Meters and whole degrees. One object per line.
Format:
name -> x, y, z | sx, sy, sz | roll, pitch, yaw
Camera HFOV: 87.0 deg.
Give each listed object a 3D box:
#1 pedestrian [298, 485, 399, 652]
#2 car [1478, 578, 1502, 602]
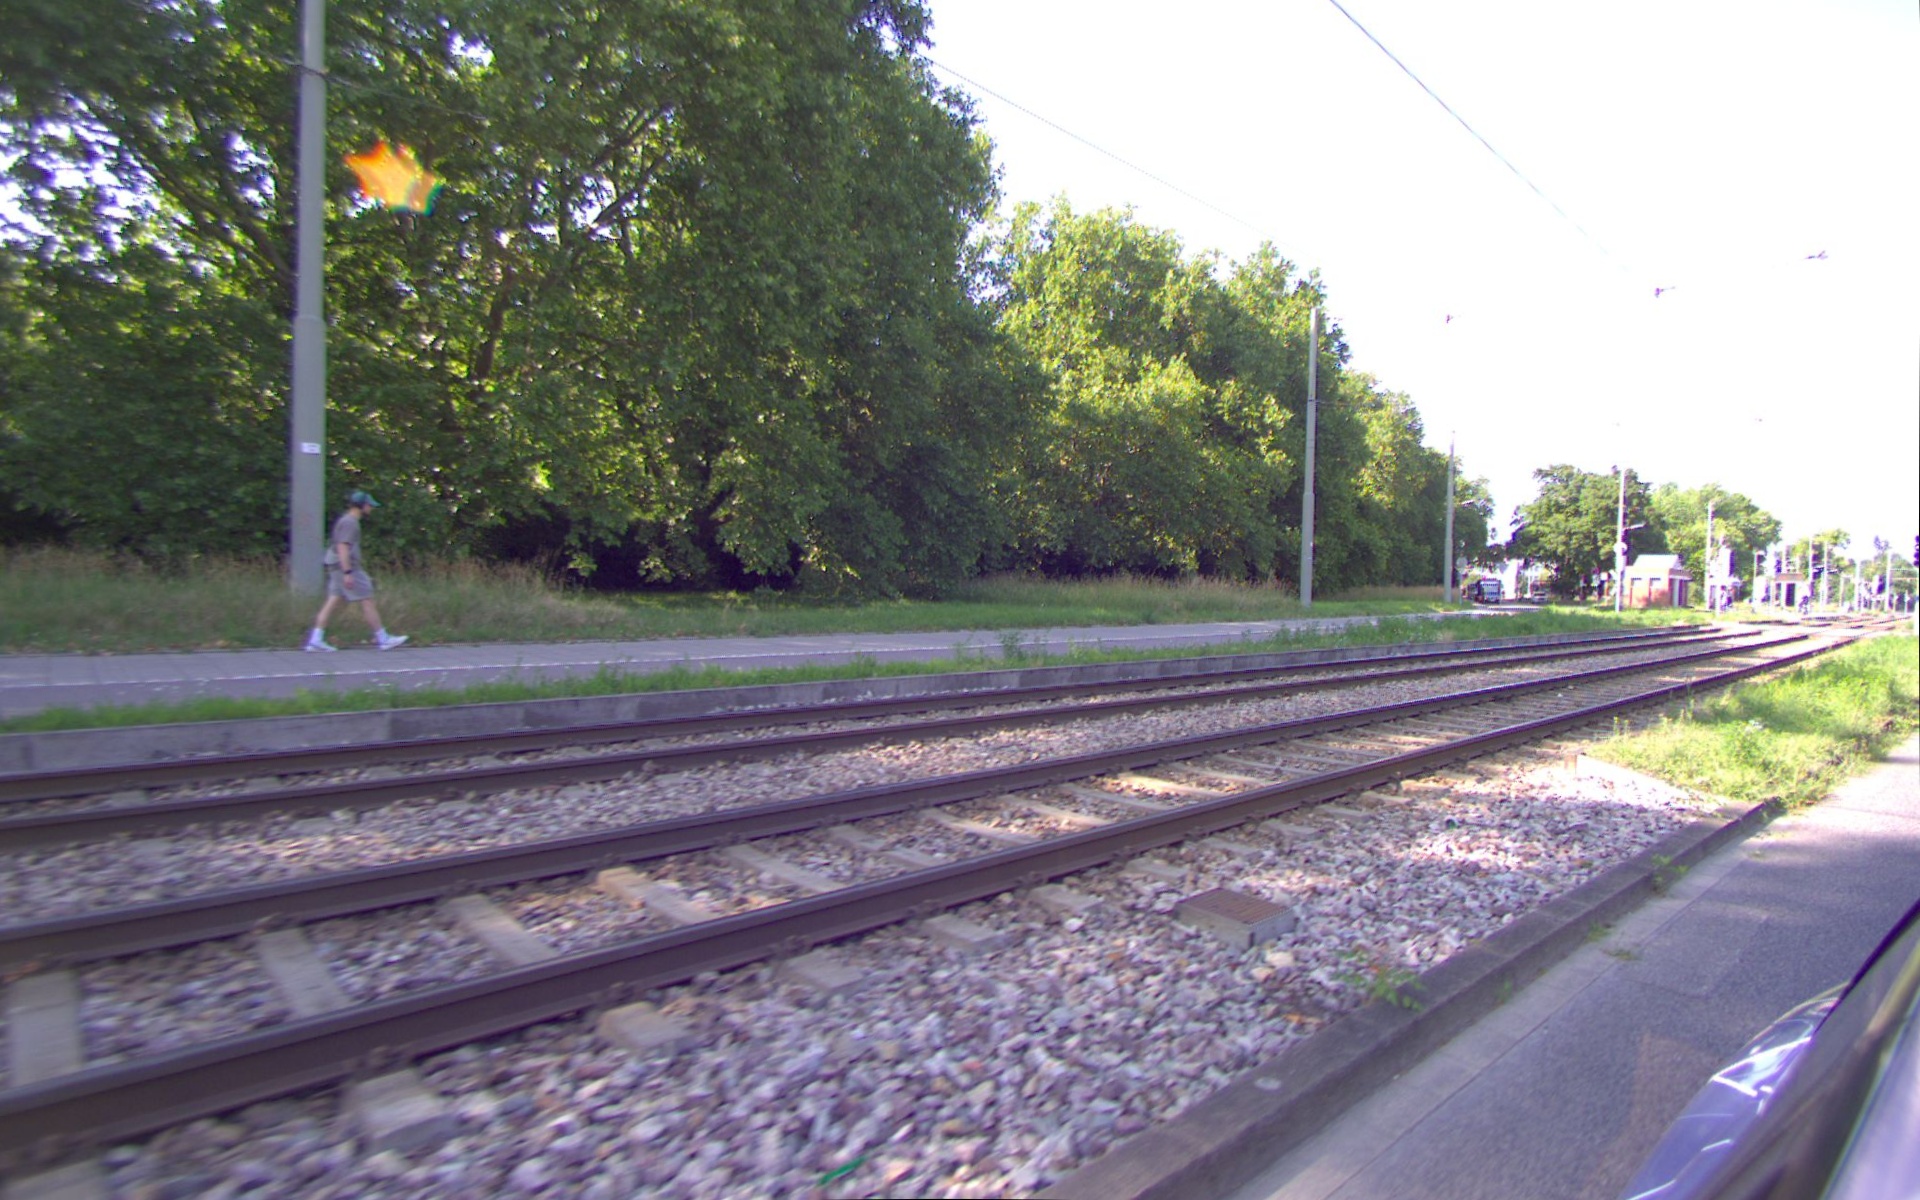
pedestrian -> -6.643, -0.331, 10.999 | 0.868, 1.737, 0.502 | 1, 2, -36
car -> 57.277, -1.073, 109.475 | 1.839, 2.552, 3.833 | 0, 0, 22
